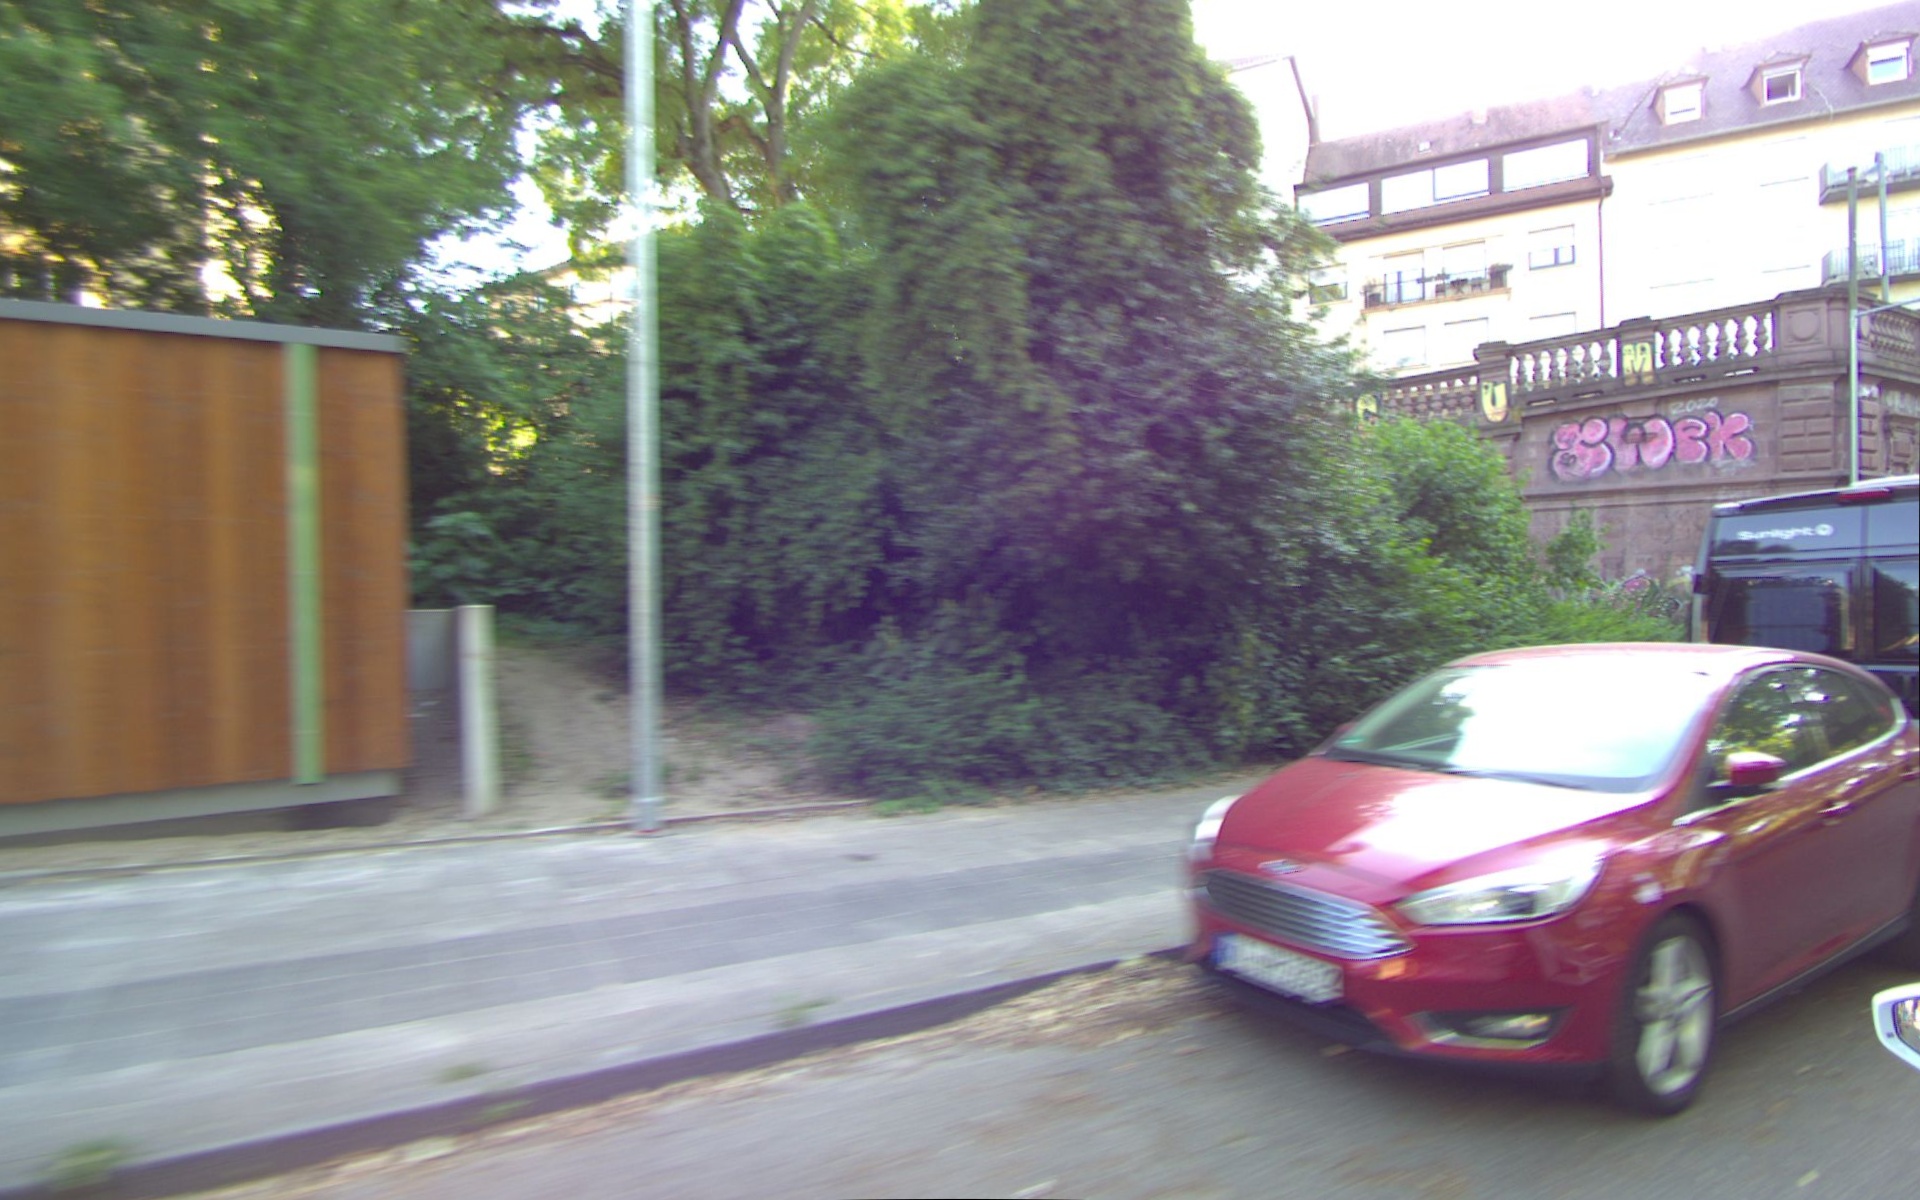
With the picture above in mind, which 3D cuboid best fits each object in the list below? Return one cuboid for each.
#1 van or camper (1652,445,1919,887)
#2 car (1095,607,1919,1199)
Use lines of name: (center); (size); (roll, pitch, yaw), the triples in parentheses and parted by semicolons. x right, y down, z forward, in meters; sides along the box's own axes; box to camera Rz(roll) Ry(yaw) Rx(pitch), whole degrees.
van or camper: (8.070, 0.426, 7.777); (6.352, 2.556, 2.223); (1, 0, -33)
car: (2.758, 0.854, 4.432); (4.181, 1.527, 1.690); (1, -3, -32)
